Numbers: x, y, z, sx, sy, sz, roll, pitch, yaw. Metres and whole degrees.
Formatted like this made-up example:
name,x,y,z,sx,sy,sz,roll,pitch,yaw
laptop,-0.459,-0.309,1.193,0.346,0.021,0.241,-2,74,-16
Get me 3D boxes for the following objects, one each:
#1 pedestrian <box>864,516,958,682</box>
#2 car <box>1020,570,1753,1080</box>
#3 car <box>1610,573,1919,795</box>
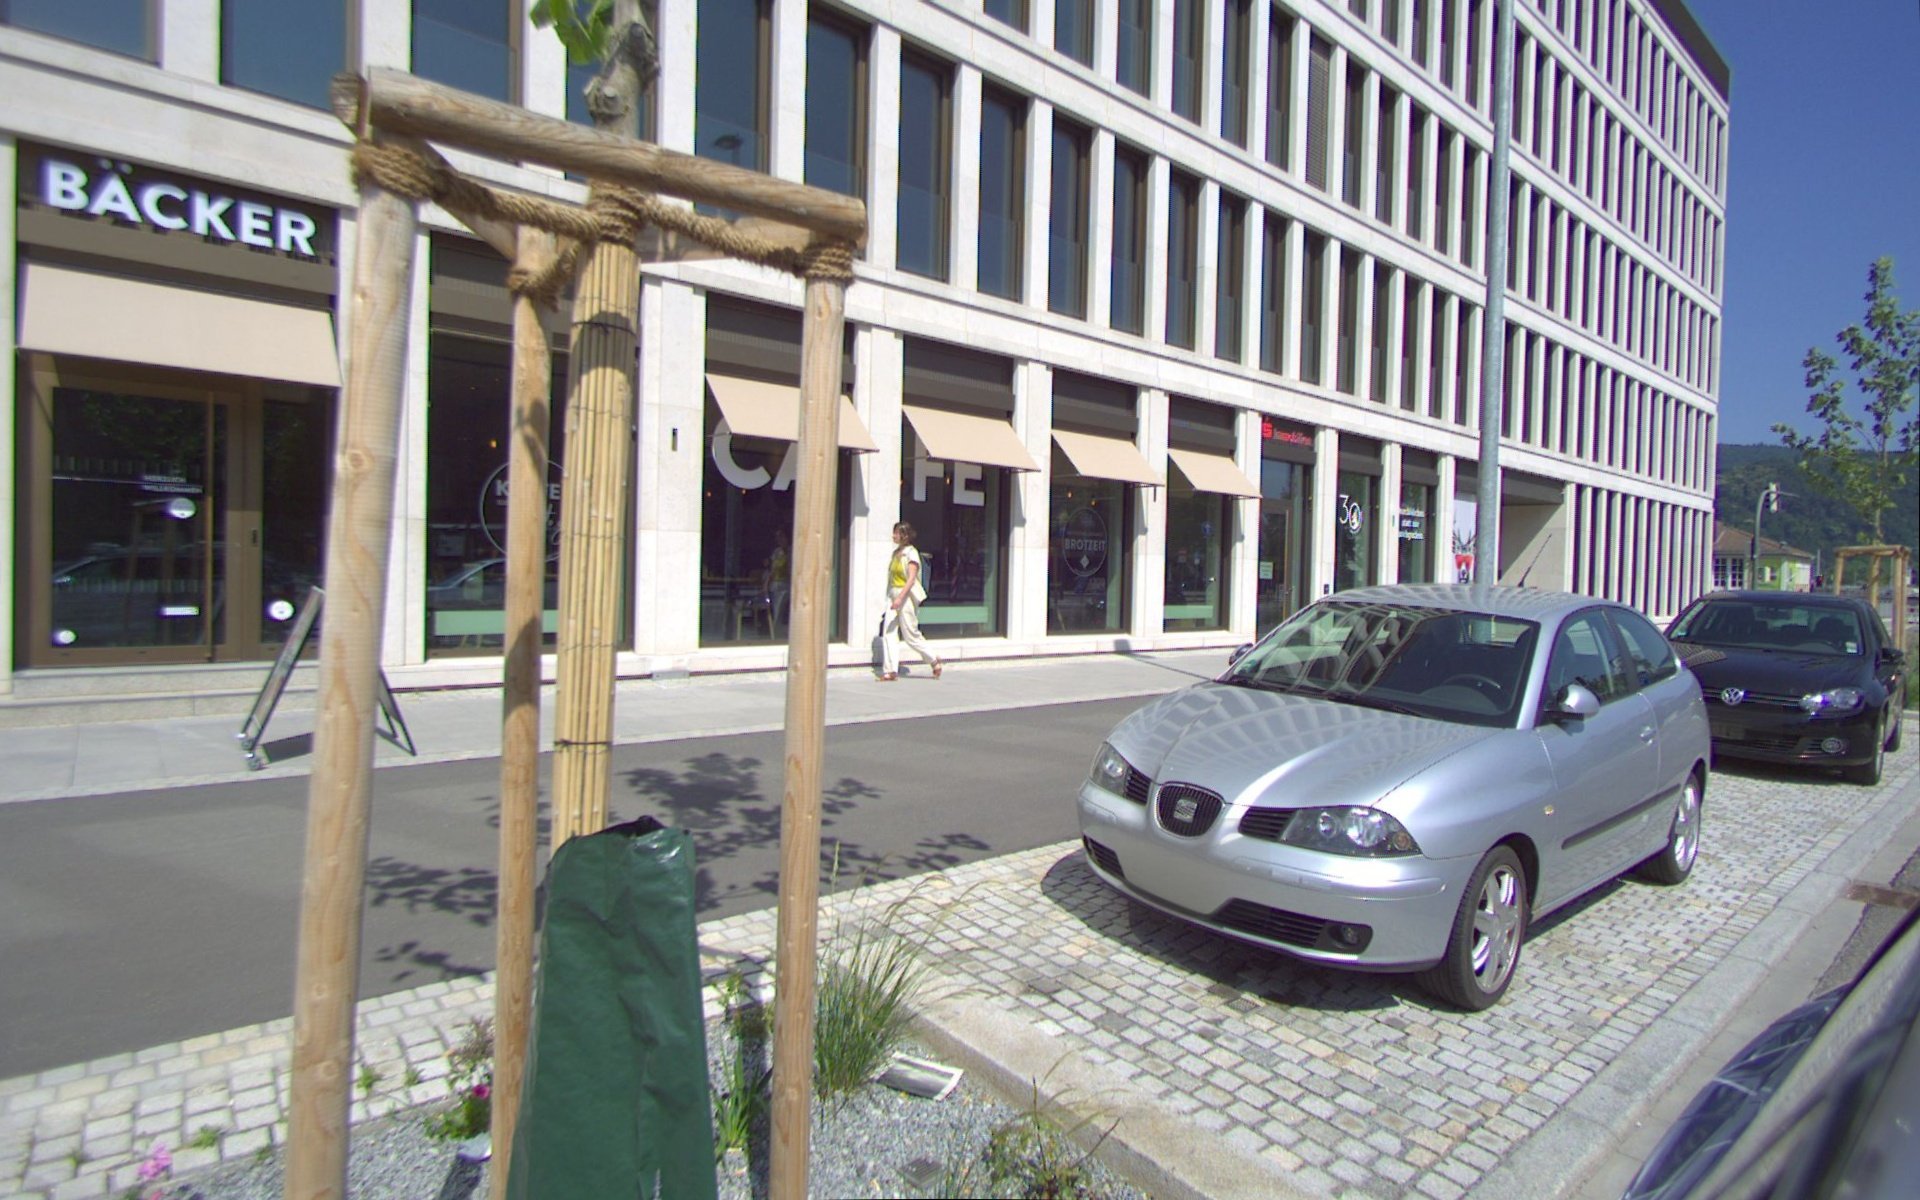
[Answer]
name,x,y,z,sx,sy,sz,roll,pitch,yaw
pedestrian,-0.542,-0.018,11.229,0.800,1.764,0.629,1,1,-40
car,2.209,0.638,4.737,3.747,1.404,1.609,0,3,-41
car,7.524,0.585,9.277,3.915,1.492,1.739,0,4,-45
